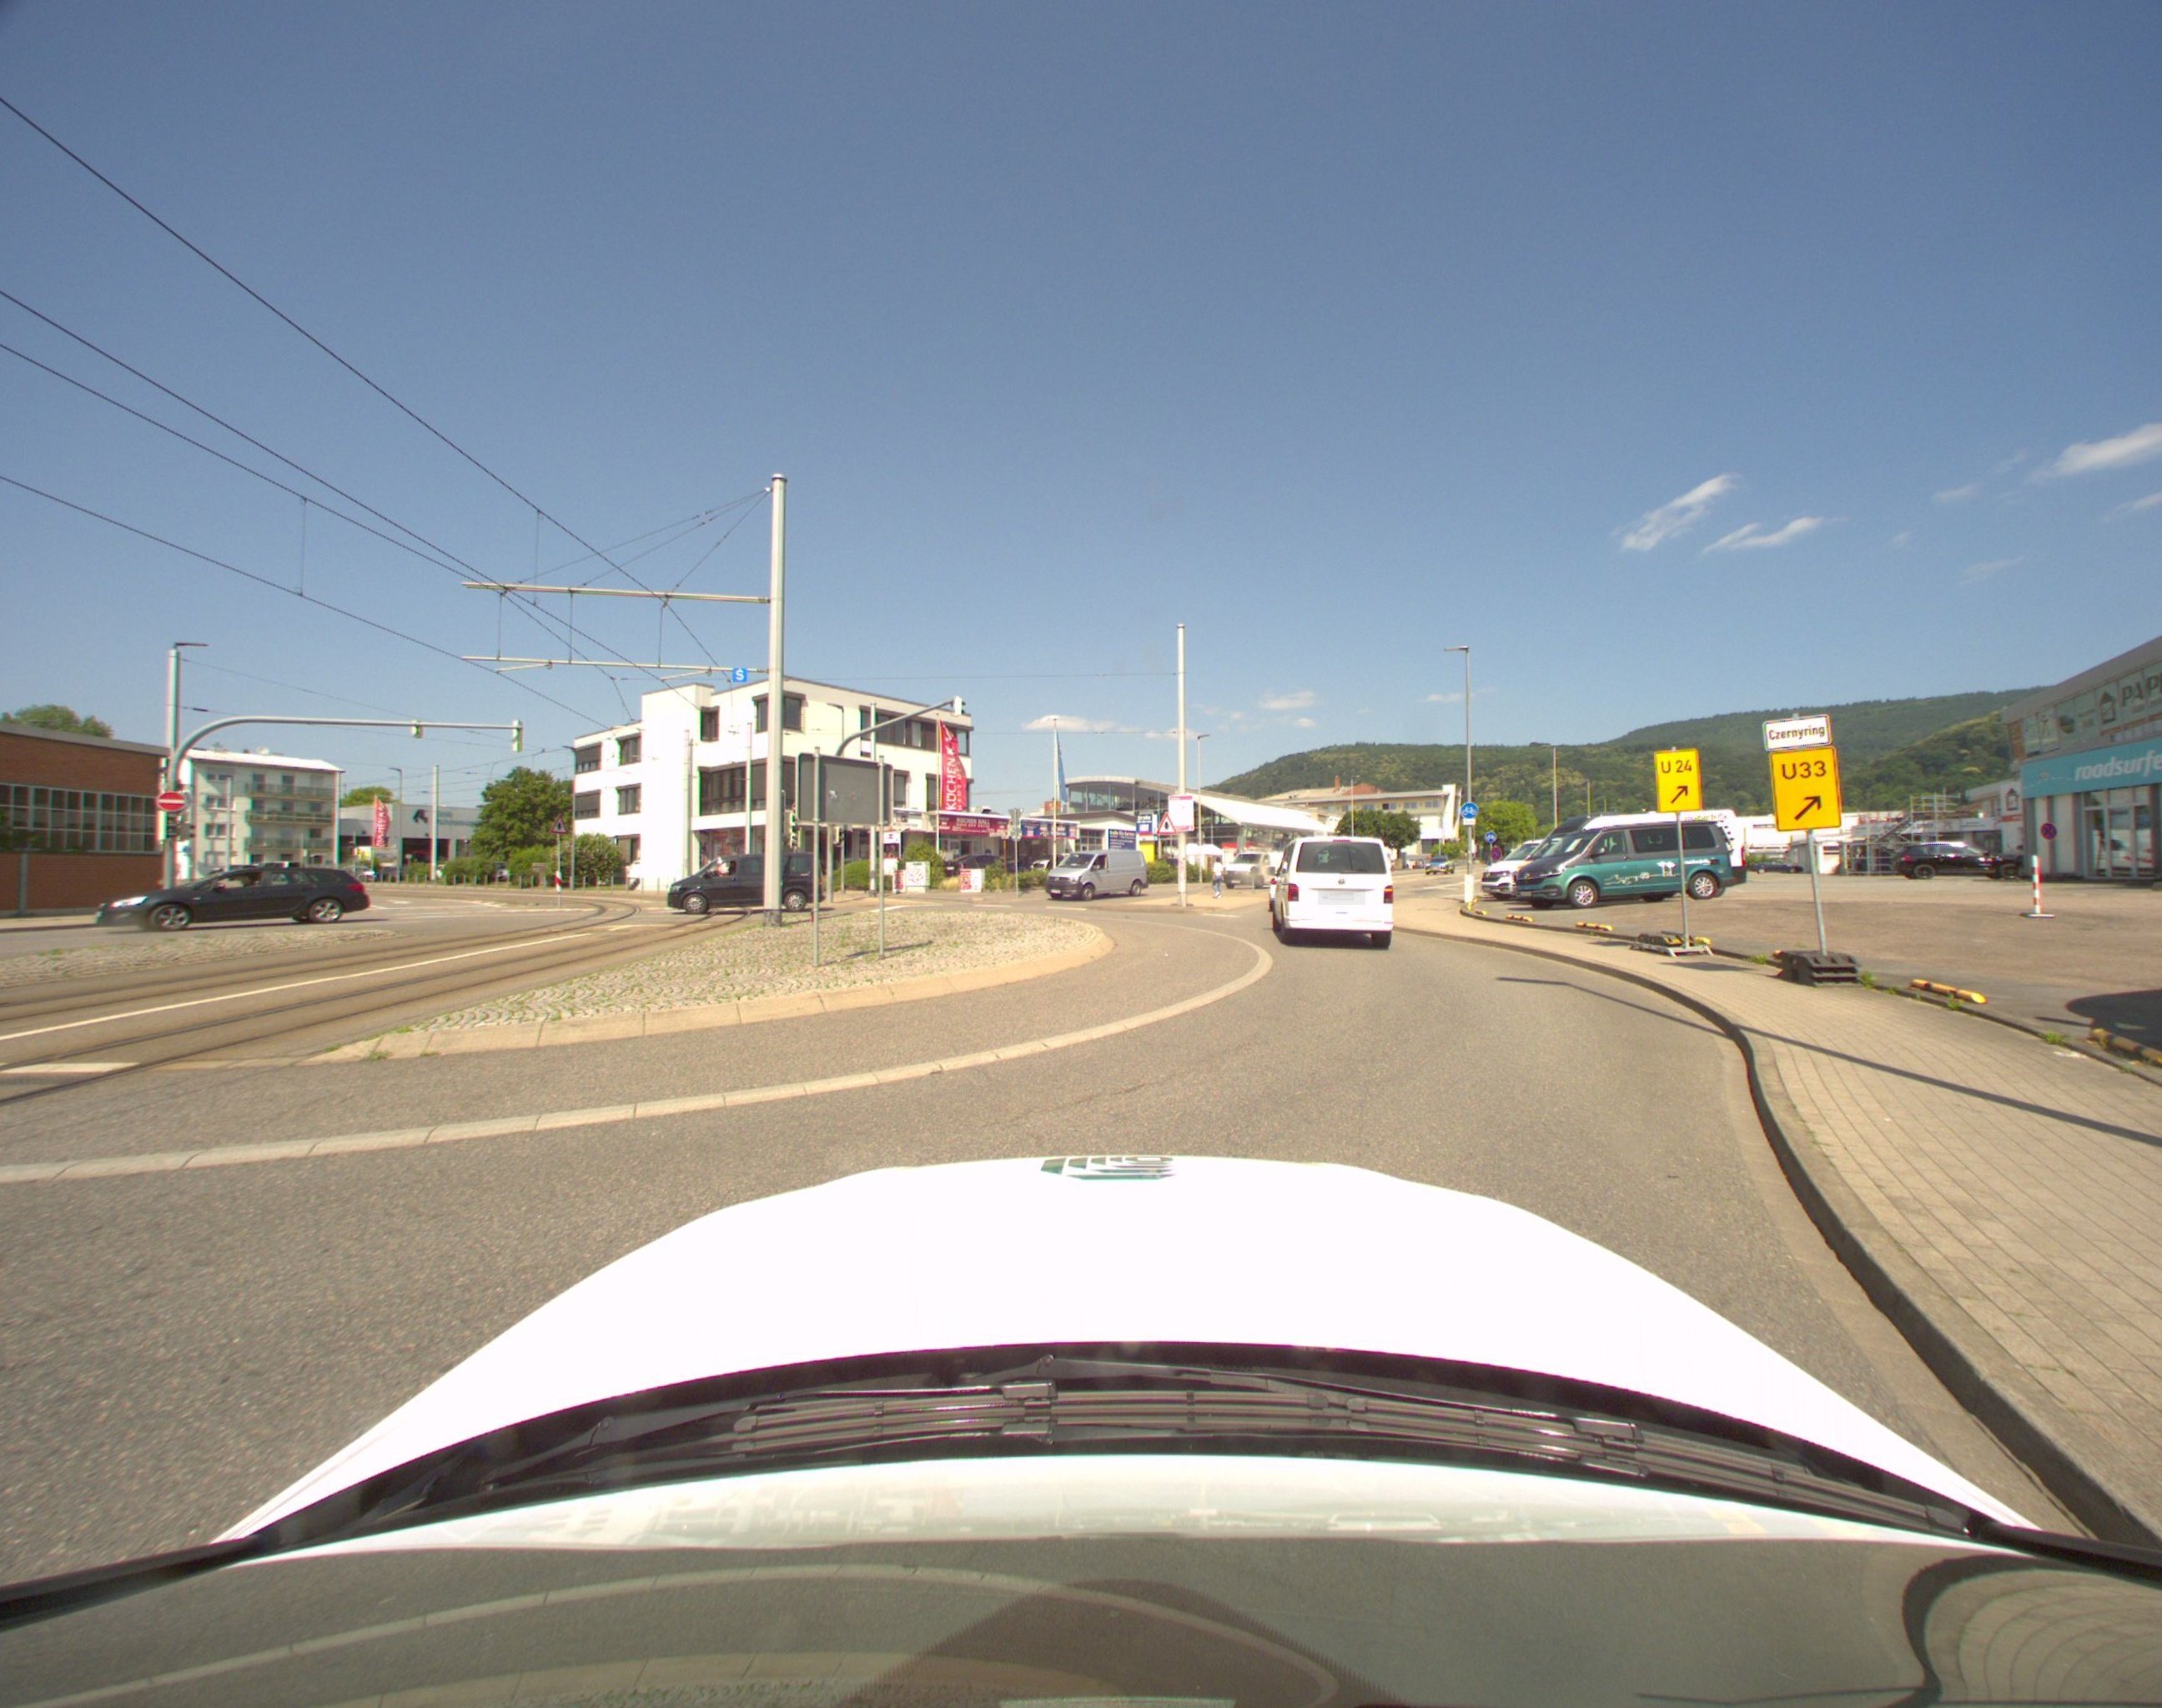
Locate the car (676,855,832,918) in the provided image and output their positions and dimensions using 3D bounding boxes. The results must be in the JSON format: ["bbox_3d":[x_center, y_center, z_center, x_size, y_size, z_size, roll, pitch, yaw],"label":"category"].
[{"bbox_3d":[-10.746,1.008,27.060,4.640,1.910,2.084,0,0,-21],"label":"car"}]

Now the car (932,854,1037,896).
[{"bbox_3d":[-4.682,0.987,40.413,1.940,1.966,5.314,-1,-1,39],"label":"car"}]

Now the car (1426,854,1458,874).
[{"bbox_3d":[33.005,0.893,74.418,1.890,1.760,4.480,-1,-1,34],"label":"car"}]

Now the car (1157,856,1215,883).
[{"bbox_3d":[6.675,0.972,51.680,1.974,1.618,4.025,-1,-1,35],"label":"car"}]

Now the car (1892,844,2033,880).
[{"bbox_3d":[39.542,0.369,36.665,3.948,1.518,1.903,-1,-1,34],"label":"car"}]

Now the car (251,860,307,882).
[{"bbox_3d":[-80.816,1.693,82.057,3.964,2.014,2.005,-2,-1,8],"label":"car"}]

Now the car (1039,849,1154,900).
[{"bbox_3d":[0.705,0.786,33.378,1.909,1.935,4.858,-1,-1,44],"label":"car"}]

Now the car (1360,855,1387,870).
[{"bbox_3d":[31.066,0.900,86.660,1.738,1.585,3.663,-1,-1,3],"label":"car"}]

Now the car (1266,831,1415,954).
[{"bbox_3d":[4.930,0.629,16.244,2.149,2.013,5.032,1,1,10],"label":"car"}]

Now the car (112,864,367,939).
[{"bbox_3d":[-21.207,1.103,20.696,1.944,1.556,4.270,2,2,36],"label":"car"}]

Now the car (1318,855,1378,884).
[{"bbox_3d":[17.713,0.983,53.959,2.002,1.838,4.899,-1,-1,41],"label":"car"}]

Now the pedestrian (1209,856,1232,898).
[{"bbox_3d":[5.610,0.905,32.748,0.758,1.656,0.671,0,-1,-6],"label":"pedestrian"}]

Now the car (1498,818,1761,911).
[{"bbox_3d":[13.493,0.247,20.255,5.197,2.113,2.095,-1,-1,-2],"label":"car"}]

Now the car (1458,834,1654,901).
[{"bbox_3d":[15.308,0.437,26.469,5.123,2.000,2.026,-1,-2,2],"label":"car"}]

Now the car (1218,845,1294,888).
[{"bbox_3d":[9.266,0.618,42.787,2.002,2.114,4.965,0,0,37],"label":"car"}]

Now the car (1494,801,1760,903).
[{"bbox_3d":[15.587,-0.051,23.519,6.118,2.717,2.306,-1,-1,-1],"label":"car"}]

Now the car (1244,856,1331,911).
[{"bbox_3d":[6.933,0.951,27.853,1.986,1.733,4.566,0,-1,2],"label":"car"}]

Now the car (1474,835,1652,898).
[{"bbox_3d":[17.117,0.450,29.124,5.107,2.014,1.934,-2,-1,6],"label":"car"}]

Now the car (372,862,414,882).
[{"bbox_3d":[-63.913,1.695,75.672,3.948,1.783,2.013,-1,-1,34],"label":"car"}]

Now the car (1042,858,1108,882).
[{"bbox_3d":[-0.319,0.971,51.209,2.006,1.427,4.344,-1,-1,35],"label":"car"}]

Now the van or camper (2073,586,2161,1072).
[{"bbox_3d":[10.148,-0.280,4.647,7.058,2.946,2.328,-2,-1,-9],"label":"van or camper"}]

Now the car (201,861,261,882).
[{"bbox_3d":[-82.381,1.706,78.944,3.964,1.860,2.005,-2,-1,8],"label":"car"}]
